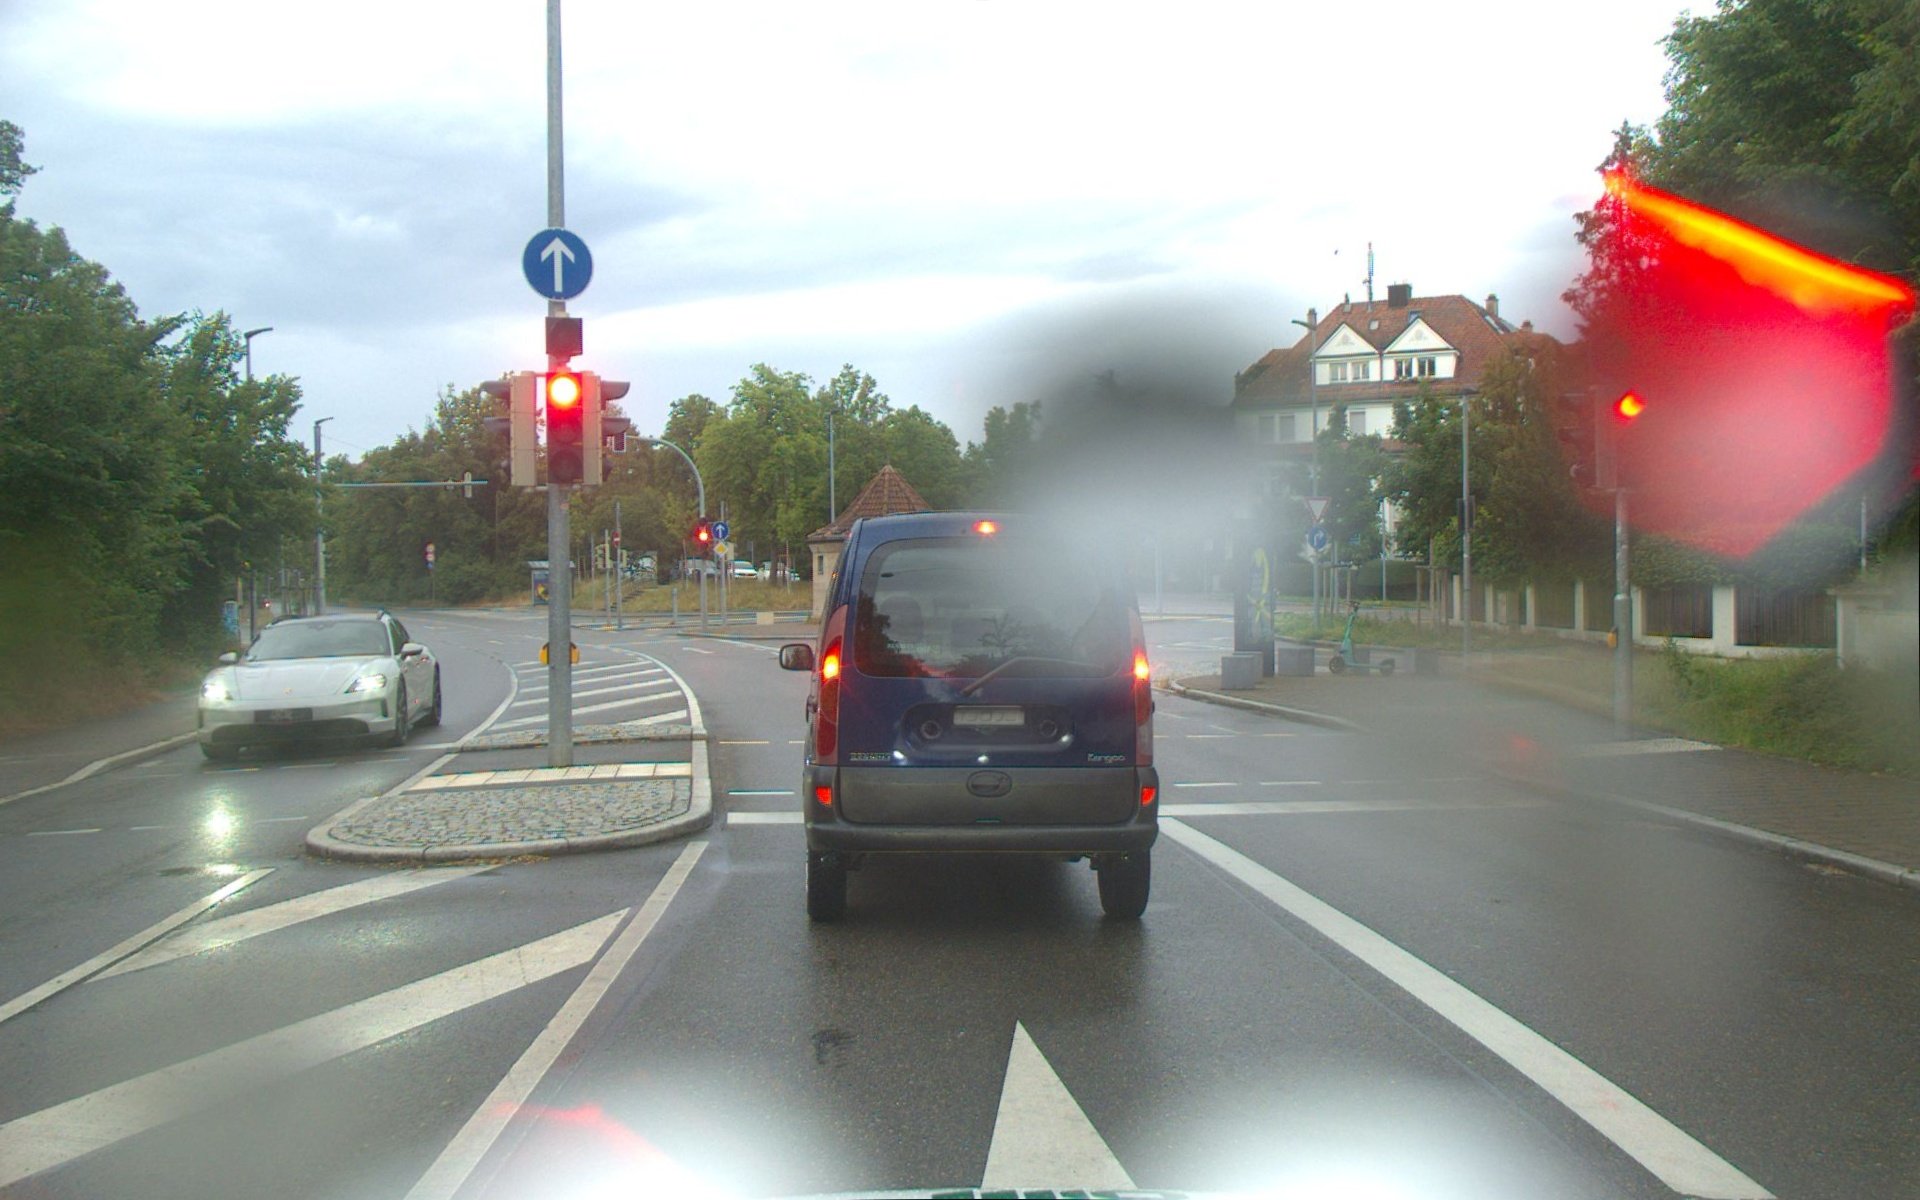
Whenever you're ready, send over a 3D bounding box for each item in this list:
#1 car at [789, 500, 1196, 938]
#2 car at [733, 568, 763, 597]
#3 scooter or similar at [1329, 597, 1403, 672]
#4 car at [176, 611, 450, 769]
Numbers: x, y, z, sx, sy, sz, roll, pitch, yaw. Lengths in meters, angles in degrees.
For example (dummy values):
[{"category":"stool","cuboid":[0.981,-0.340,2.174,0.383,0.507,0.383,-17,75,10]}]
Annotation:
[{"category":"car","cuboid":[0.050,0.476,8.895,1.697,1.817,3.998,0,0,-3]},{"category":"car","cuboid":[-14.065,-1.129,109.557,1.956,1.844,3.992,0,-1,-8]},{"category":"scooter or similar","cuboid":[6.835,0.579,27.870,1.125,1.240,0.405,-1,-1,-2]},{"category":"car","cuboid":[-6.925,0.878,18.188,1.958,1.334,4.348,-3,1,-11]}]
